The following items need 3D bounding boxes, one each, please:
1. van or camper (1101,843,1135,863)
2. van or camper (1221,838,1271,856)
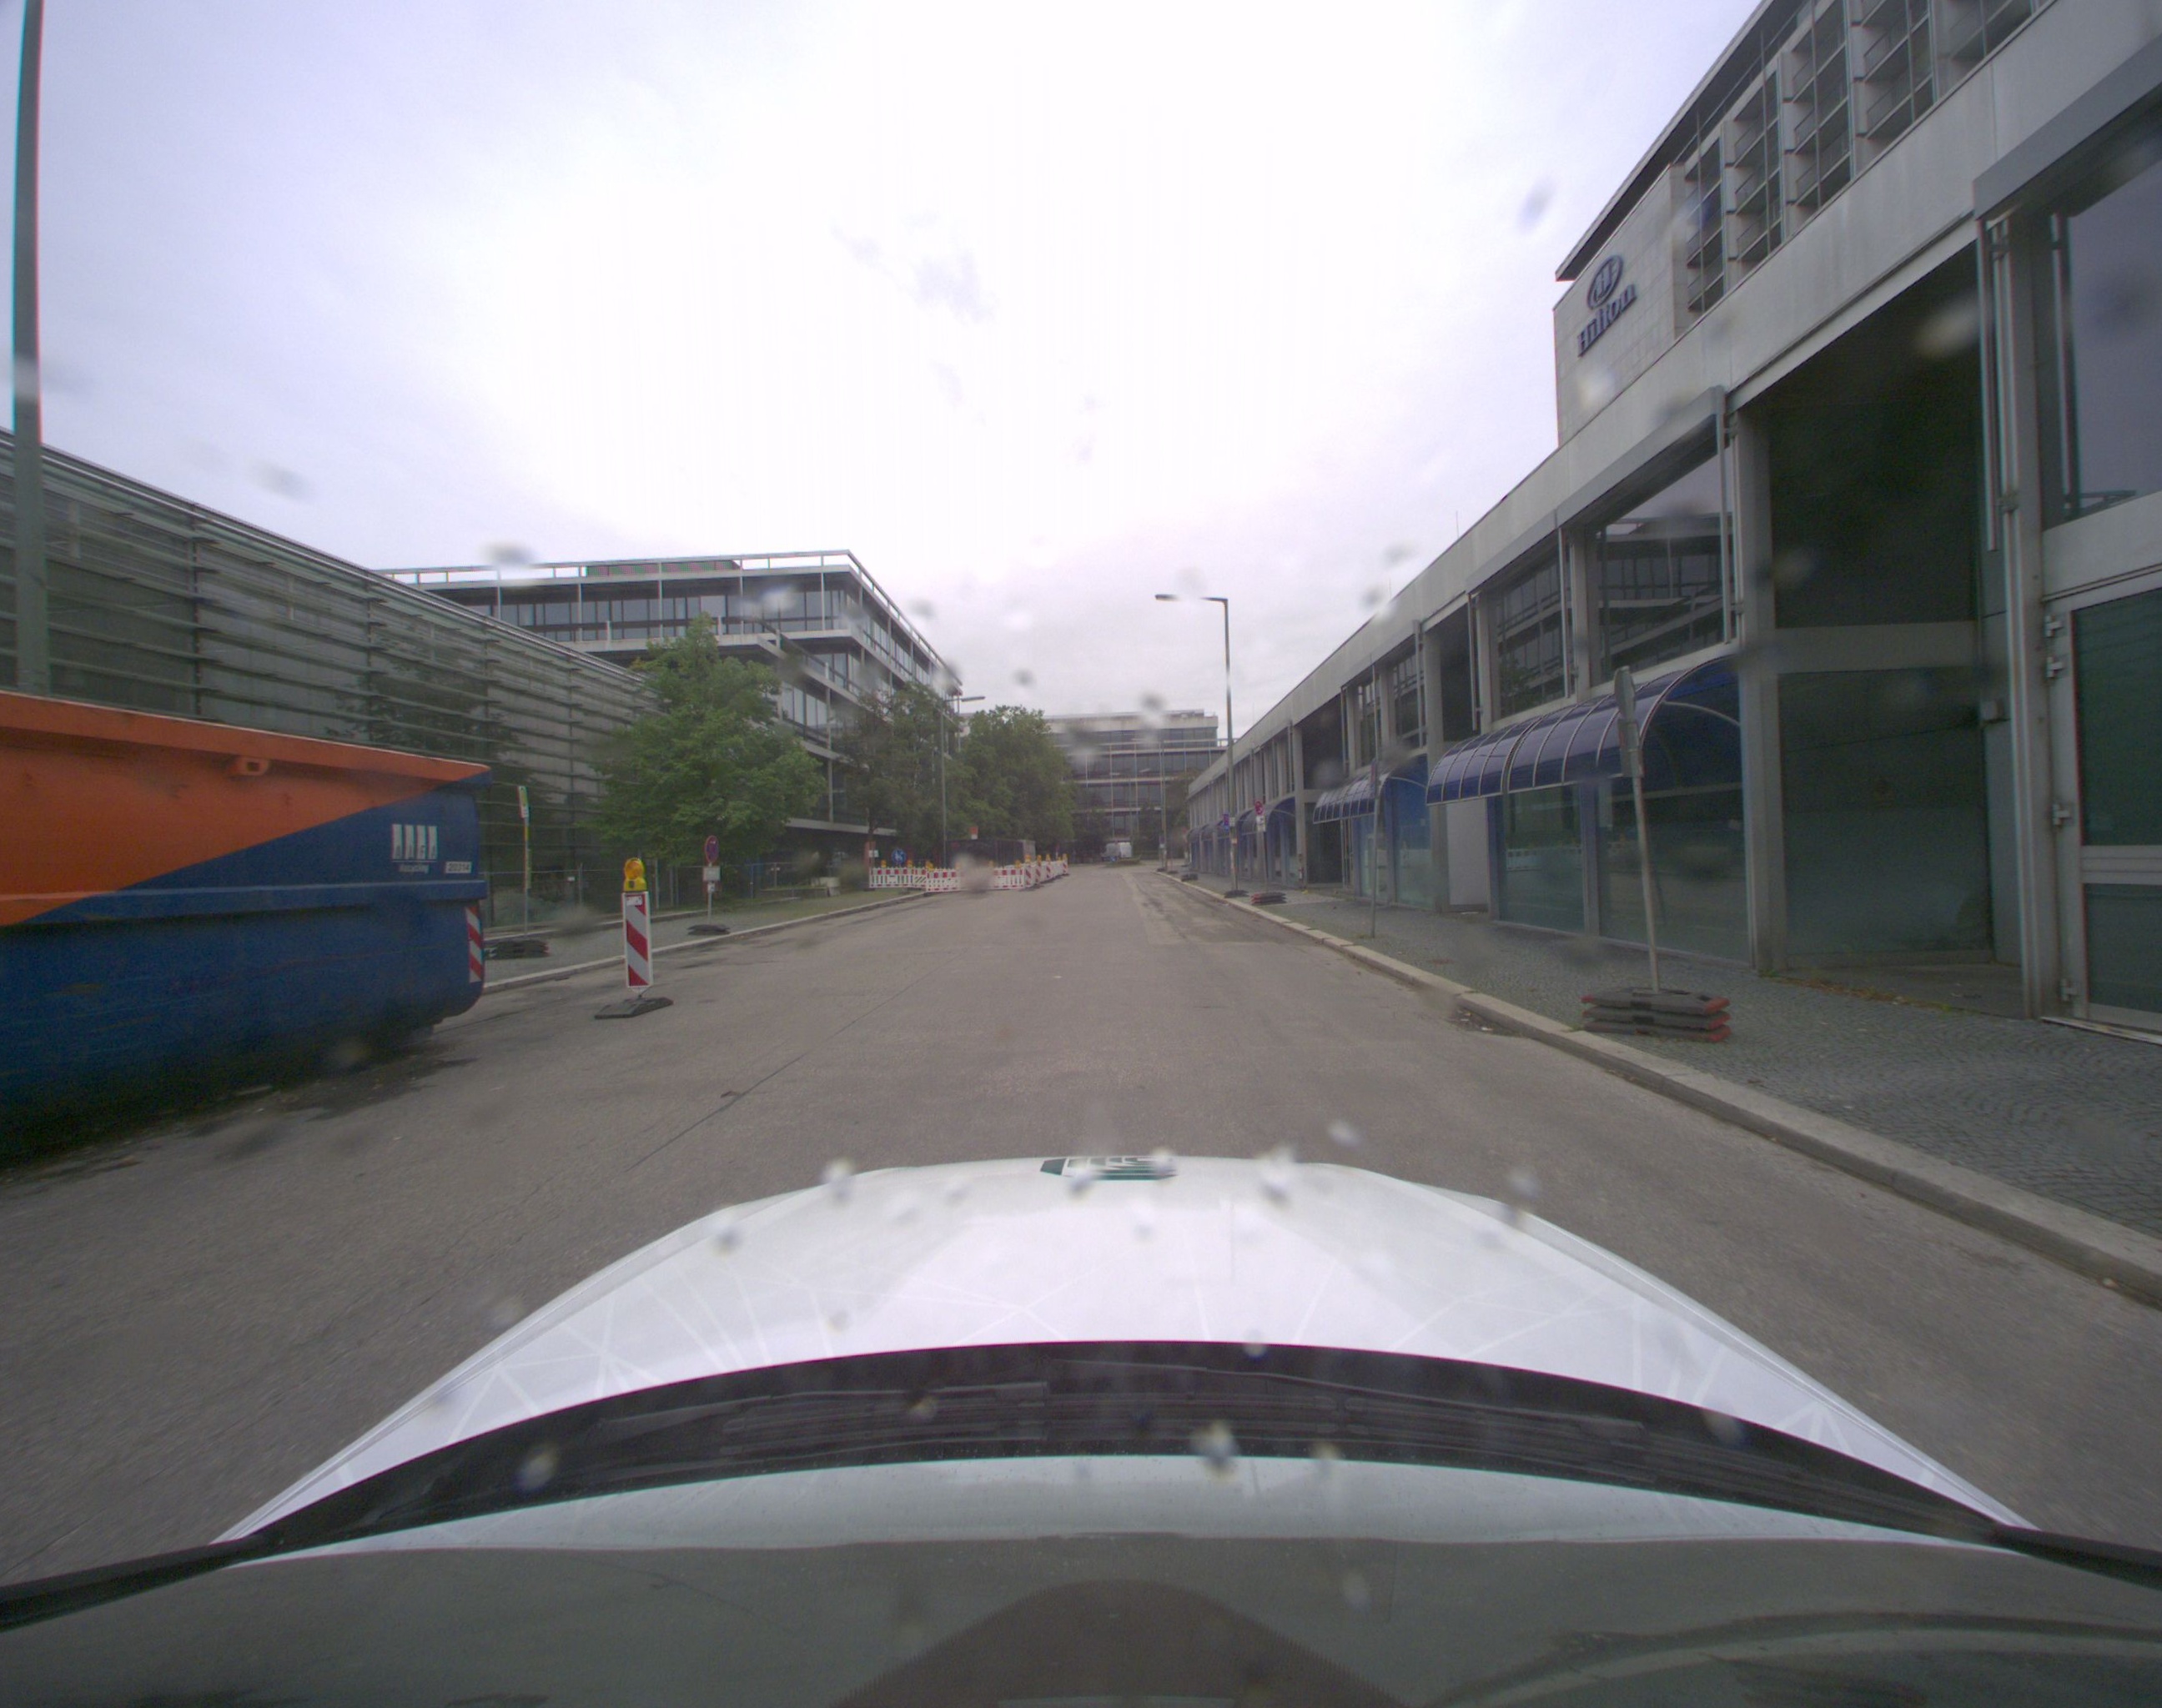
[{"bbox_3d":[5.194,-0.077,115.239,2.165,2.581,6.487,-1,-2,-23],"label":"van or camper"},{"bbox_3d":[22.627,-0.912,111.776,6.403,2.281,2.246,-2,0,-12],"label":"van or camper"}]
